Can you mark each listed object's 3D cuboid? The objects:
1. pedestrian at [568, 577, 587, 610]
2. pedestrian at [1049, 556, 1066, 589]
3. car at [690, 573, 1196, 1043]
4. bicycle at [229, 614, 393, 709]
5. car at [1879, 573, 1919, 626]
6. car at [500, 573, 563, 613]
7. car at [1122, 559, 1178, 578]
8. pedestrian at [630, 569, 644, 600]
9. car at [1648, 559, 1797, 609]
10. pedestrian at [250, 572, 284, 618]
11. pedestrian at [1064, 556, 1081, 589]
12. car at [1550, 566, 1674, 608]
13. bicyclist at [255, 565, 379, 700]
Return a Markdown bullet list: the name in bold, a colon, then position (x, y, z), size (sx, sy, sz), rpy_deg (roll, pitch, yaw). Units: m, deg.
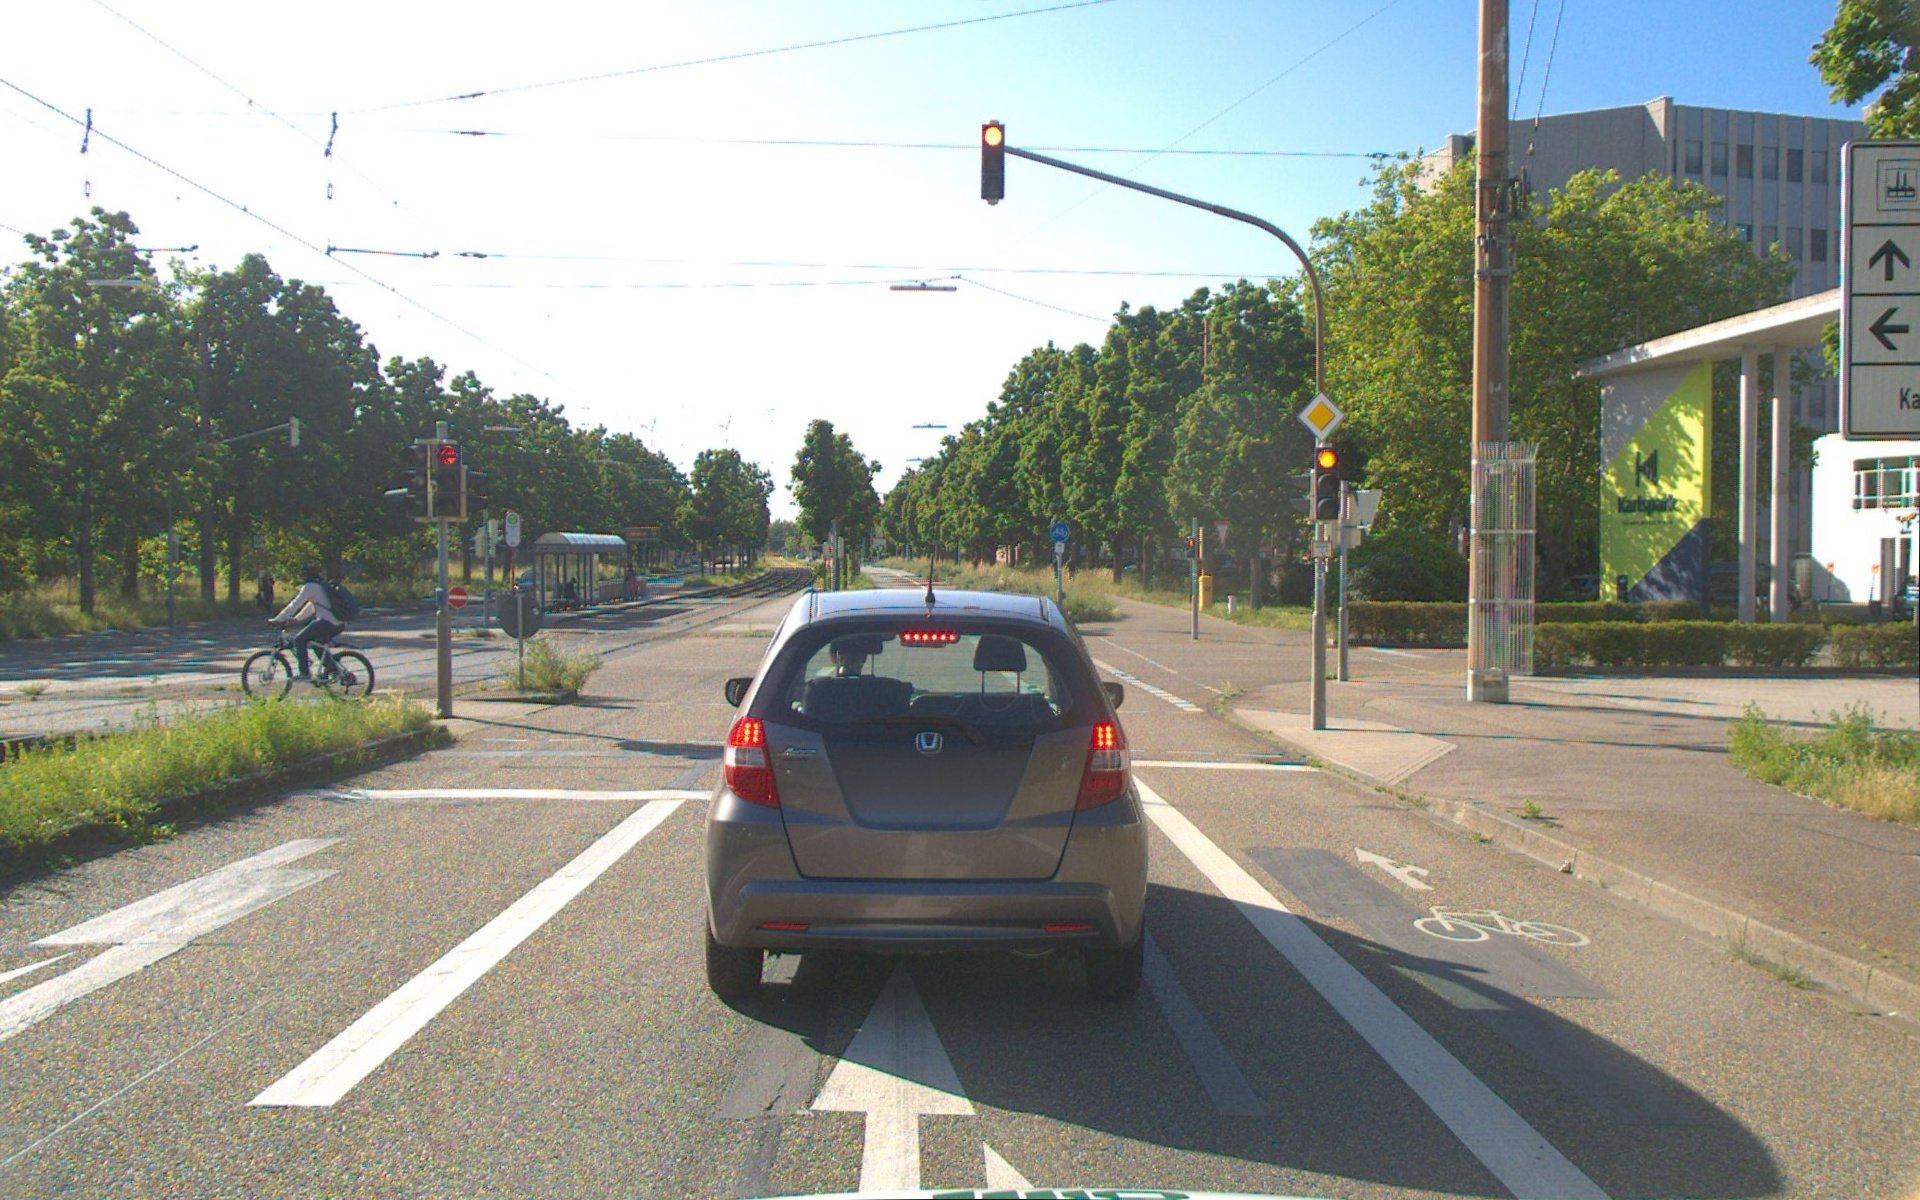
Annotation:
- **pedestrian**: position (-15.095, -0.265, 65.305), size (0.552, 1.279, 0.580), rpy_deg (-2, 0, -2)
- **pedestrian**: position (5.600, -1.592, 95.499), size (0.865, 1.917, 0.875), rpy_deg (0, 1, -5)
- **car**: position (-0.079, 0.691, 7.359), size (1.666, 1.550, 3.709), rpy_deg (1, 0, -1)
- **bicycle**: position (-8.015, 0.745, 20.456), size (1.738, 1.121, 0.699), rpy_deg (1, 0, 2)
- **car**: position (30.631, -0.019, 50.736), size (3.914, 1.605, 1.950), rpy_deg (0, 1, -10)
- **car**: position (-21.550, -0.391, 83.313), size (2.052, 1.841, 4.791), rpy_deg (-2, 2, -3)
- **car**: position (16.609, -2.739, 144.821), size (4.543, 1.582, 1.997), rpy_deg (-1, 1, -7)
- **pedestrian**: position (-15.585, -0.766, 79.858), size (0.533, 1.473, 0.559), rpy_deg (-1, 0, -1)
- **car**: position (28.000, -0.612, 60.763), size (4.803, 1.787, 2.083), rpy_deg (0, 1, -16)
- **pedestrian**: position (-26.605, -0.197, 63.488), size (0.744, 1.764, 0.936), rpy_deg (0, 1, 27)
- **pedestrian**: position (6.520, -1.576, 95.530), size (0.865, 1.917, 0.875), rpy_deg (0, 1, -5)
- **car**: position (26.635, -0.545, 67.605), size (4.371, 1.715, 1.892), rpy_deg (0, 1, -7)
- **bicyclist**: position (-7.931, 0.393, 20.444), size (1.208, 1.621, 0.805), rpy_deg (0, 0, -2)
